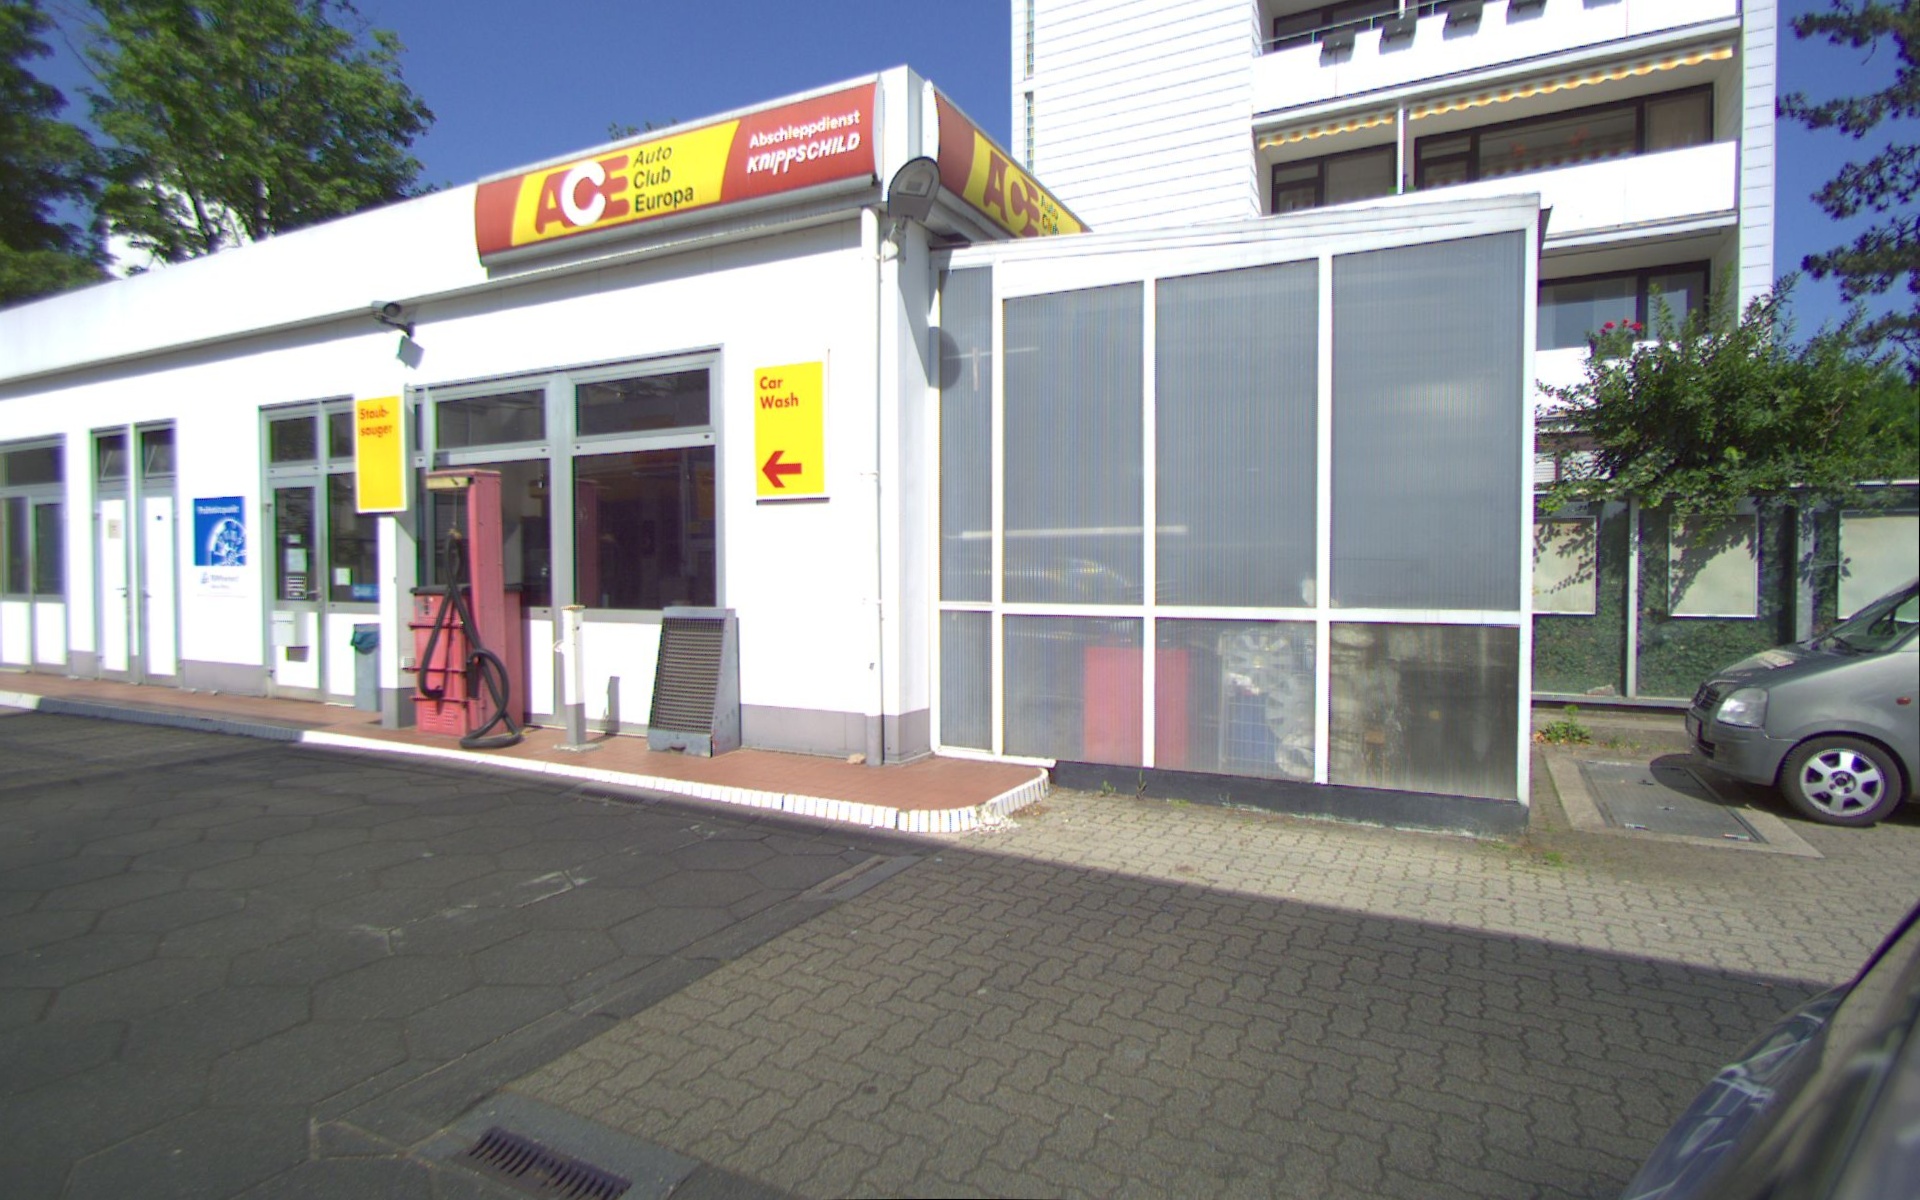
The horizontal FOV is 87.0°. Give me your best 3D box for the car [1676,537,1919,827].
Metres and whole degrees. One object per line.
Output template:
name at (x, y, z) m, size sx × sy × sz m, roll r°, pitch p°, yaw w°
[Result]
car at (6.589, 0.432, 6.002) m, size 3.630 × 1.637 × 1.675 m, roll -1°, pitch 1°, yaw 30°
